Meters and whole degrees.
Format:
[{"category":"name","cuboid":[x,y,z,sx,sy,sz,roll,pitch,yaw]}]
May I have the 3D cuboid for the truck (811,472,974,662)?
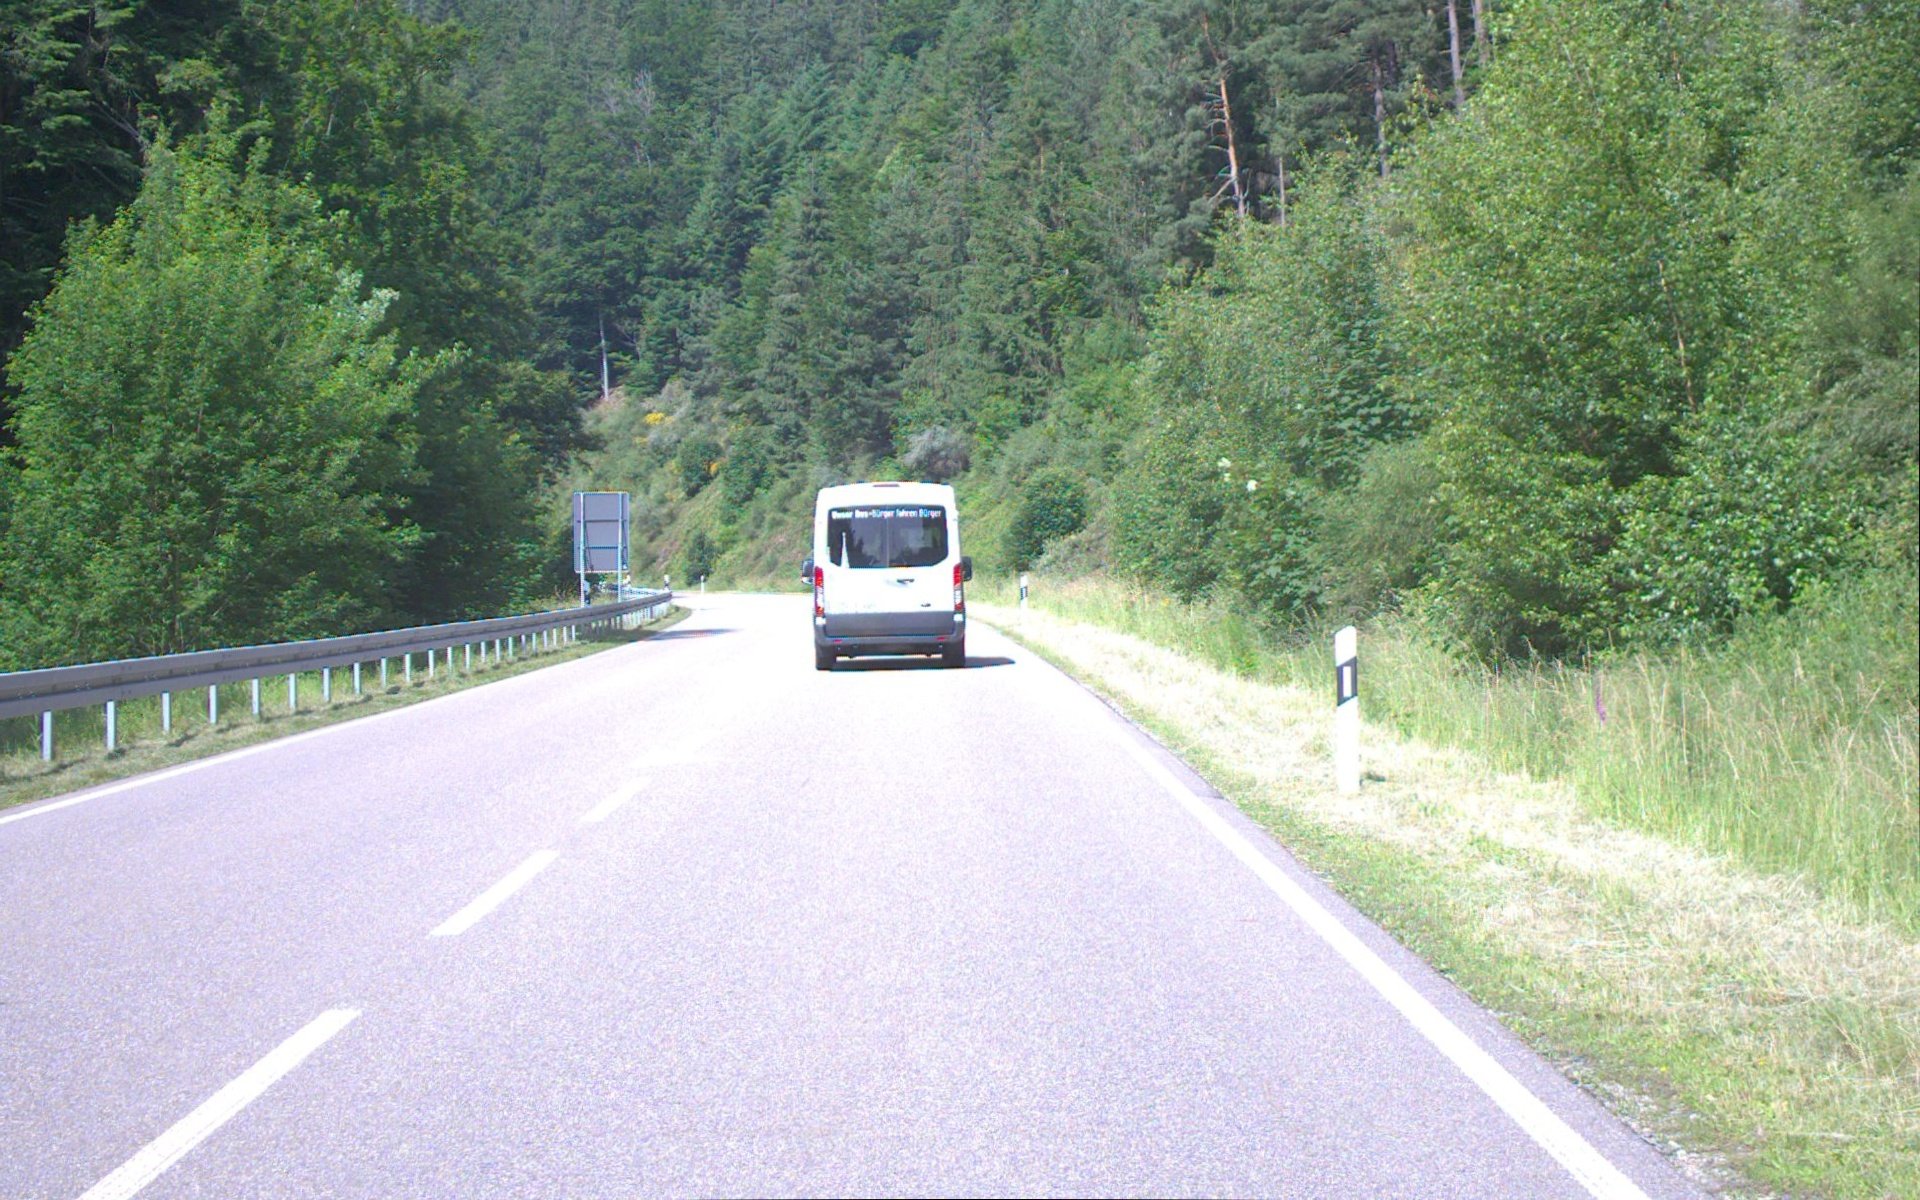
[{"category":"truck","cuboid":[-0.866,-0.455,47.065,2.083,2.451,4.875,0,1,0]}]
